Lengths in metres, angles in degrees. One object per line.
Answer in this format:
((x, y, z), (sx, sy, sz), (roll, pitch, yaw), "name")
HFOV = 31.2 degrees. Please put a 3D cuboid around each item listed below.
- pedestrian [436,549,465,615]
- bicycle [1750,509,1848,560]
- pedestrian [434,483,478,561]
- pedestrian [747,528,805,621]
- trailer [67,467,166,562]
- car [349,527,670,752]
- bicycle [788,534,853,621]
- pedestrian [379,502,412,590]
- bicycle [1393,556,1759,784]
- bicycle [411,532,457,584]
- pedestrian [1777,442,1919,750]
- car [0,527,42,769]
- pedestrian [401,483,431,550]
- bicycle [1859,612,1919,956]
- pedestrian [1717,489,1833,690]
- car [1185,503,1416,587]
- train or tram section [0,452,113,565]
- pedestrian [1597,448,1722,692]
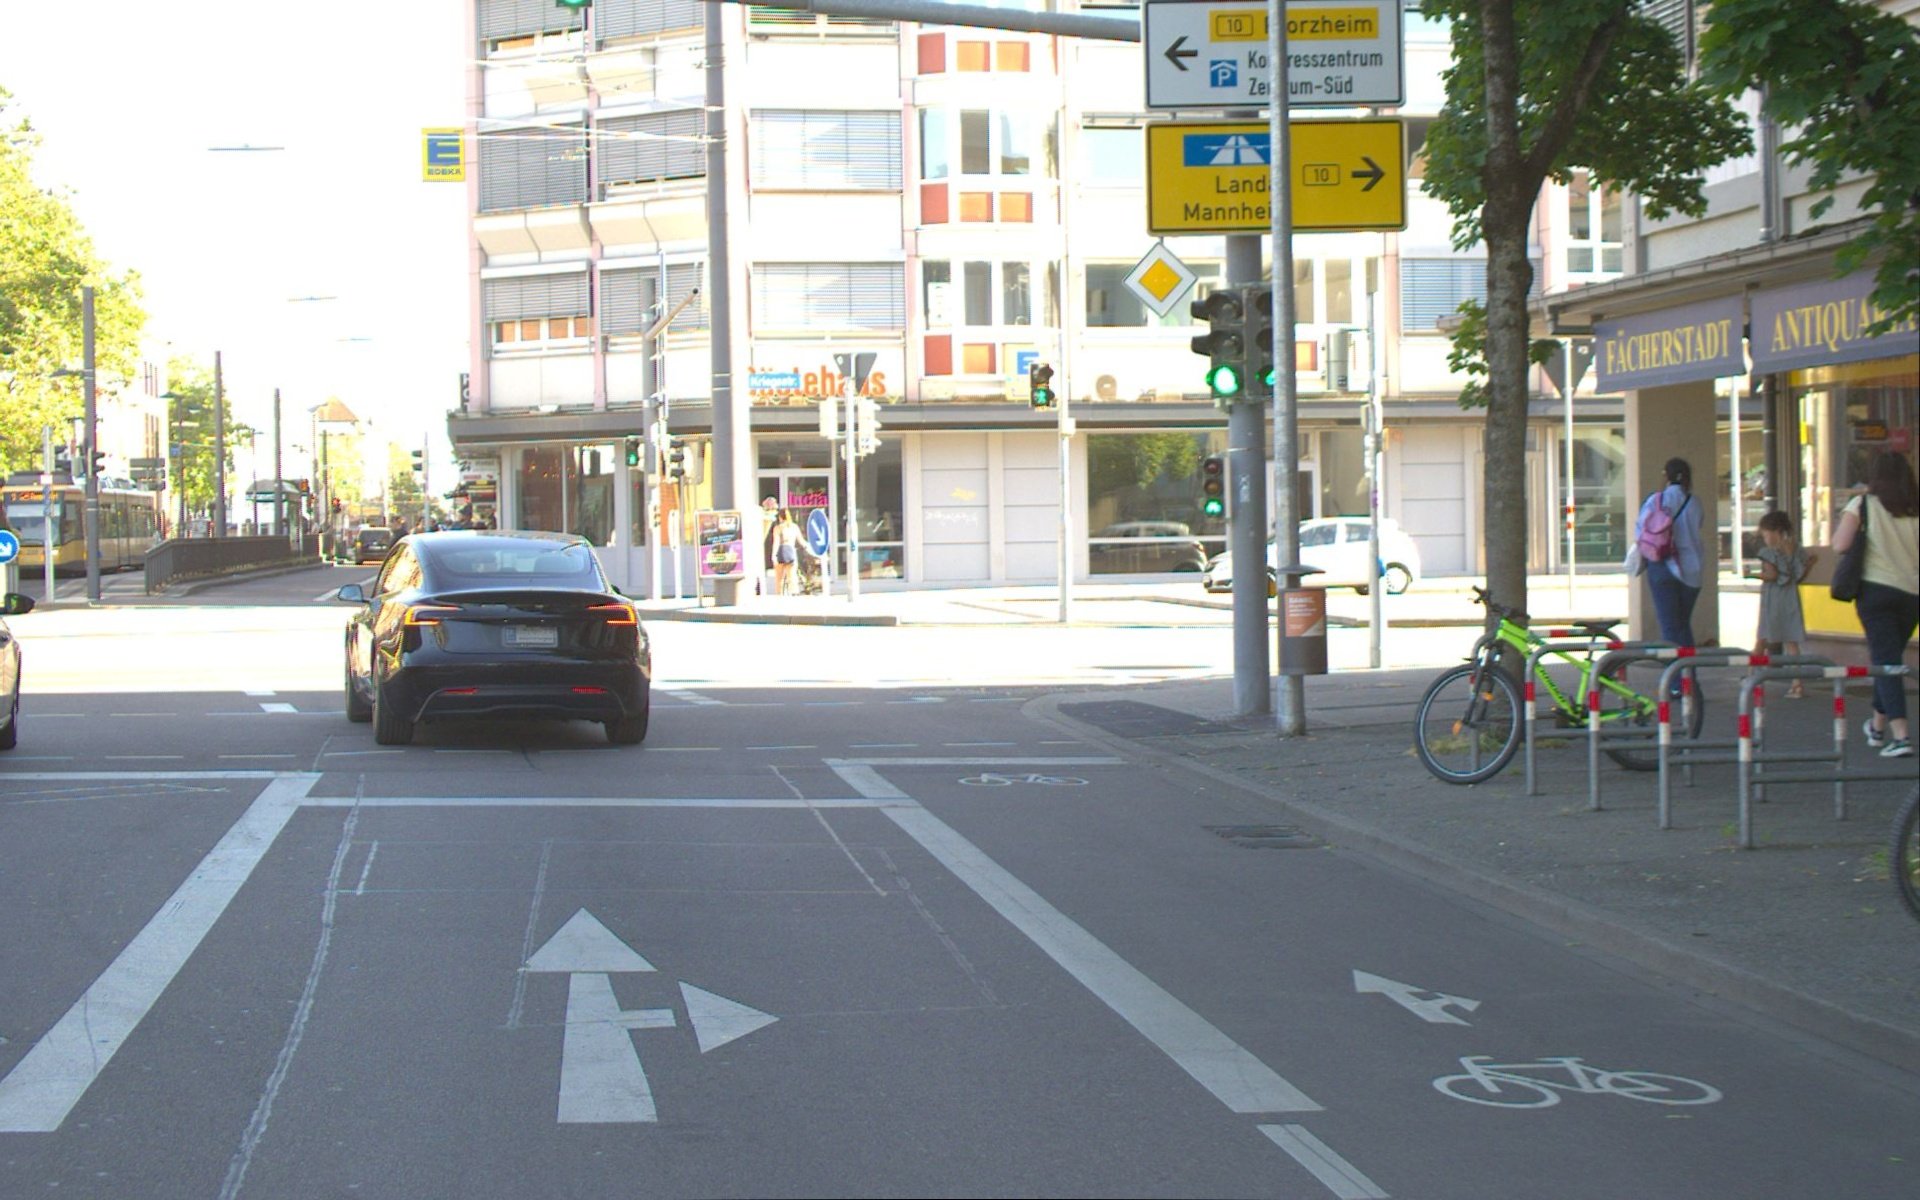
((-13.028, -0.453, 87.948), (0.696, 1.672, 0.750), (-1, 1, -7), "pedestrian")
((17.590, -1.376, 72.085), (1.966, 1.046, 0.536), (-1, 1, -13), "bicycle")
((-11.334, -1.752, 77.337), (0.914, 1.748, 0.839), (-1, 1, -5), "pedestrian")
((-3.164, -0.444, 59.185), (0.779, 1.571, 0.868), (-1, 2, -20), "pedestrian")
((-32.558, -3.257, 132.963), (2.713, 3.534, 9.361), (-1, 1, -8), "trailer")
((-3.250, 0.227, 24.209), (1.790, 1.446, 3.941), (0, 1, -14), "car")
((-2.418, -0.400, 59.346), (0.582, 1.458, 1.686), (-2, 2, -21), "bicycle")
((-11.516, -1.104, 70.185), (0.626, 1.776, 0.918), (-1, 1, -8), "pedestrian")
((3.409, 0.379, 19.070), (1.889, 1.152, 0.480), (-3, 1, -4), "bicycle")
((-11.791, -0.941, 77.041), (0.488, 1.157, 1.974), (-1, 1, -25), "bicycle")
((5.200, -0.030, 19.502), (0.843, 1.701, 0.880), (-1, 1, -5), "pedestrian")
((-6.689, 0.282, 20.852), (1.764, 1.439, 4.530), (0, 1, -10), "car")
((-12.633, -1.939, 79.844), (0.471, 1.557, 0.545), (-1, 1, -34), "pedestrian")
((4.090, 0.599, 11.968), (1.809, 1.147, 0.435), (-2, 1, -9), "bicycle")
((5.846, -0.079, 24.683), (0.644, 1.417, 0.621), (-1, 1, -4), "pedestrian")
((6.253, -1.002, 63.338), (3.839, 1.427, 1.804), (-1, -1, -10), "car")
((-29.930, -2.958, 113.270), (2.728, 3.530, 10.089), (-1, 1, -7), "train or tram section")
((5.014, -0.216, 24.671), (0.843, 1.715, 0.879), (0, 1, 10), "pedestrian")
